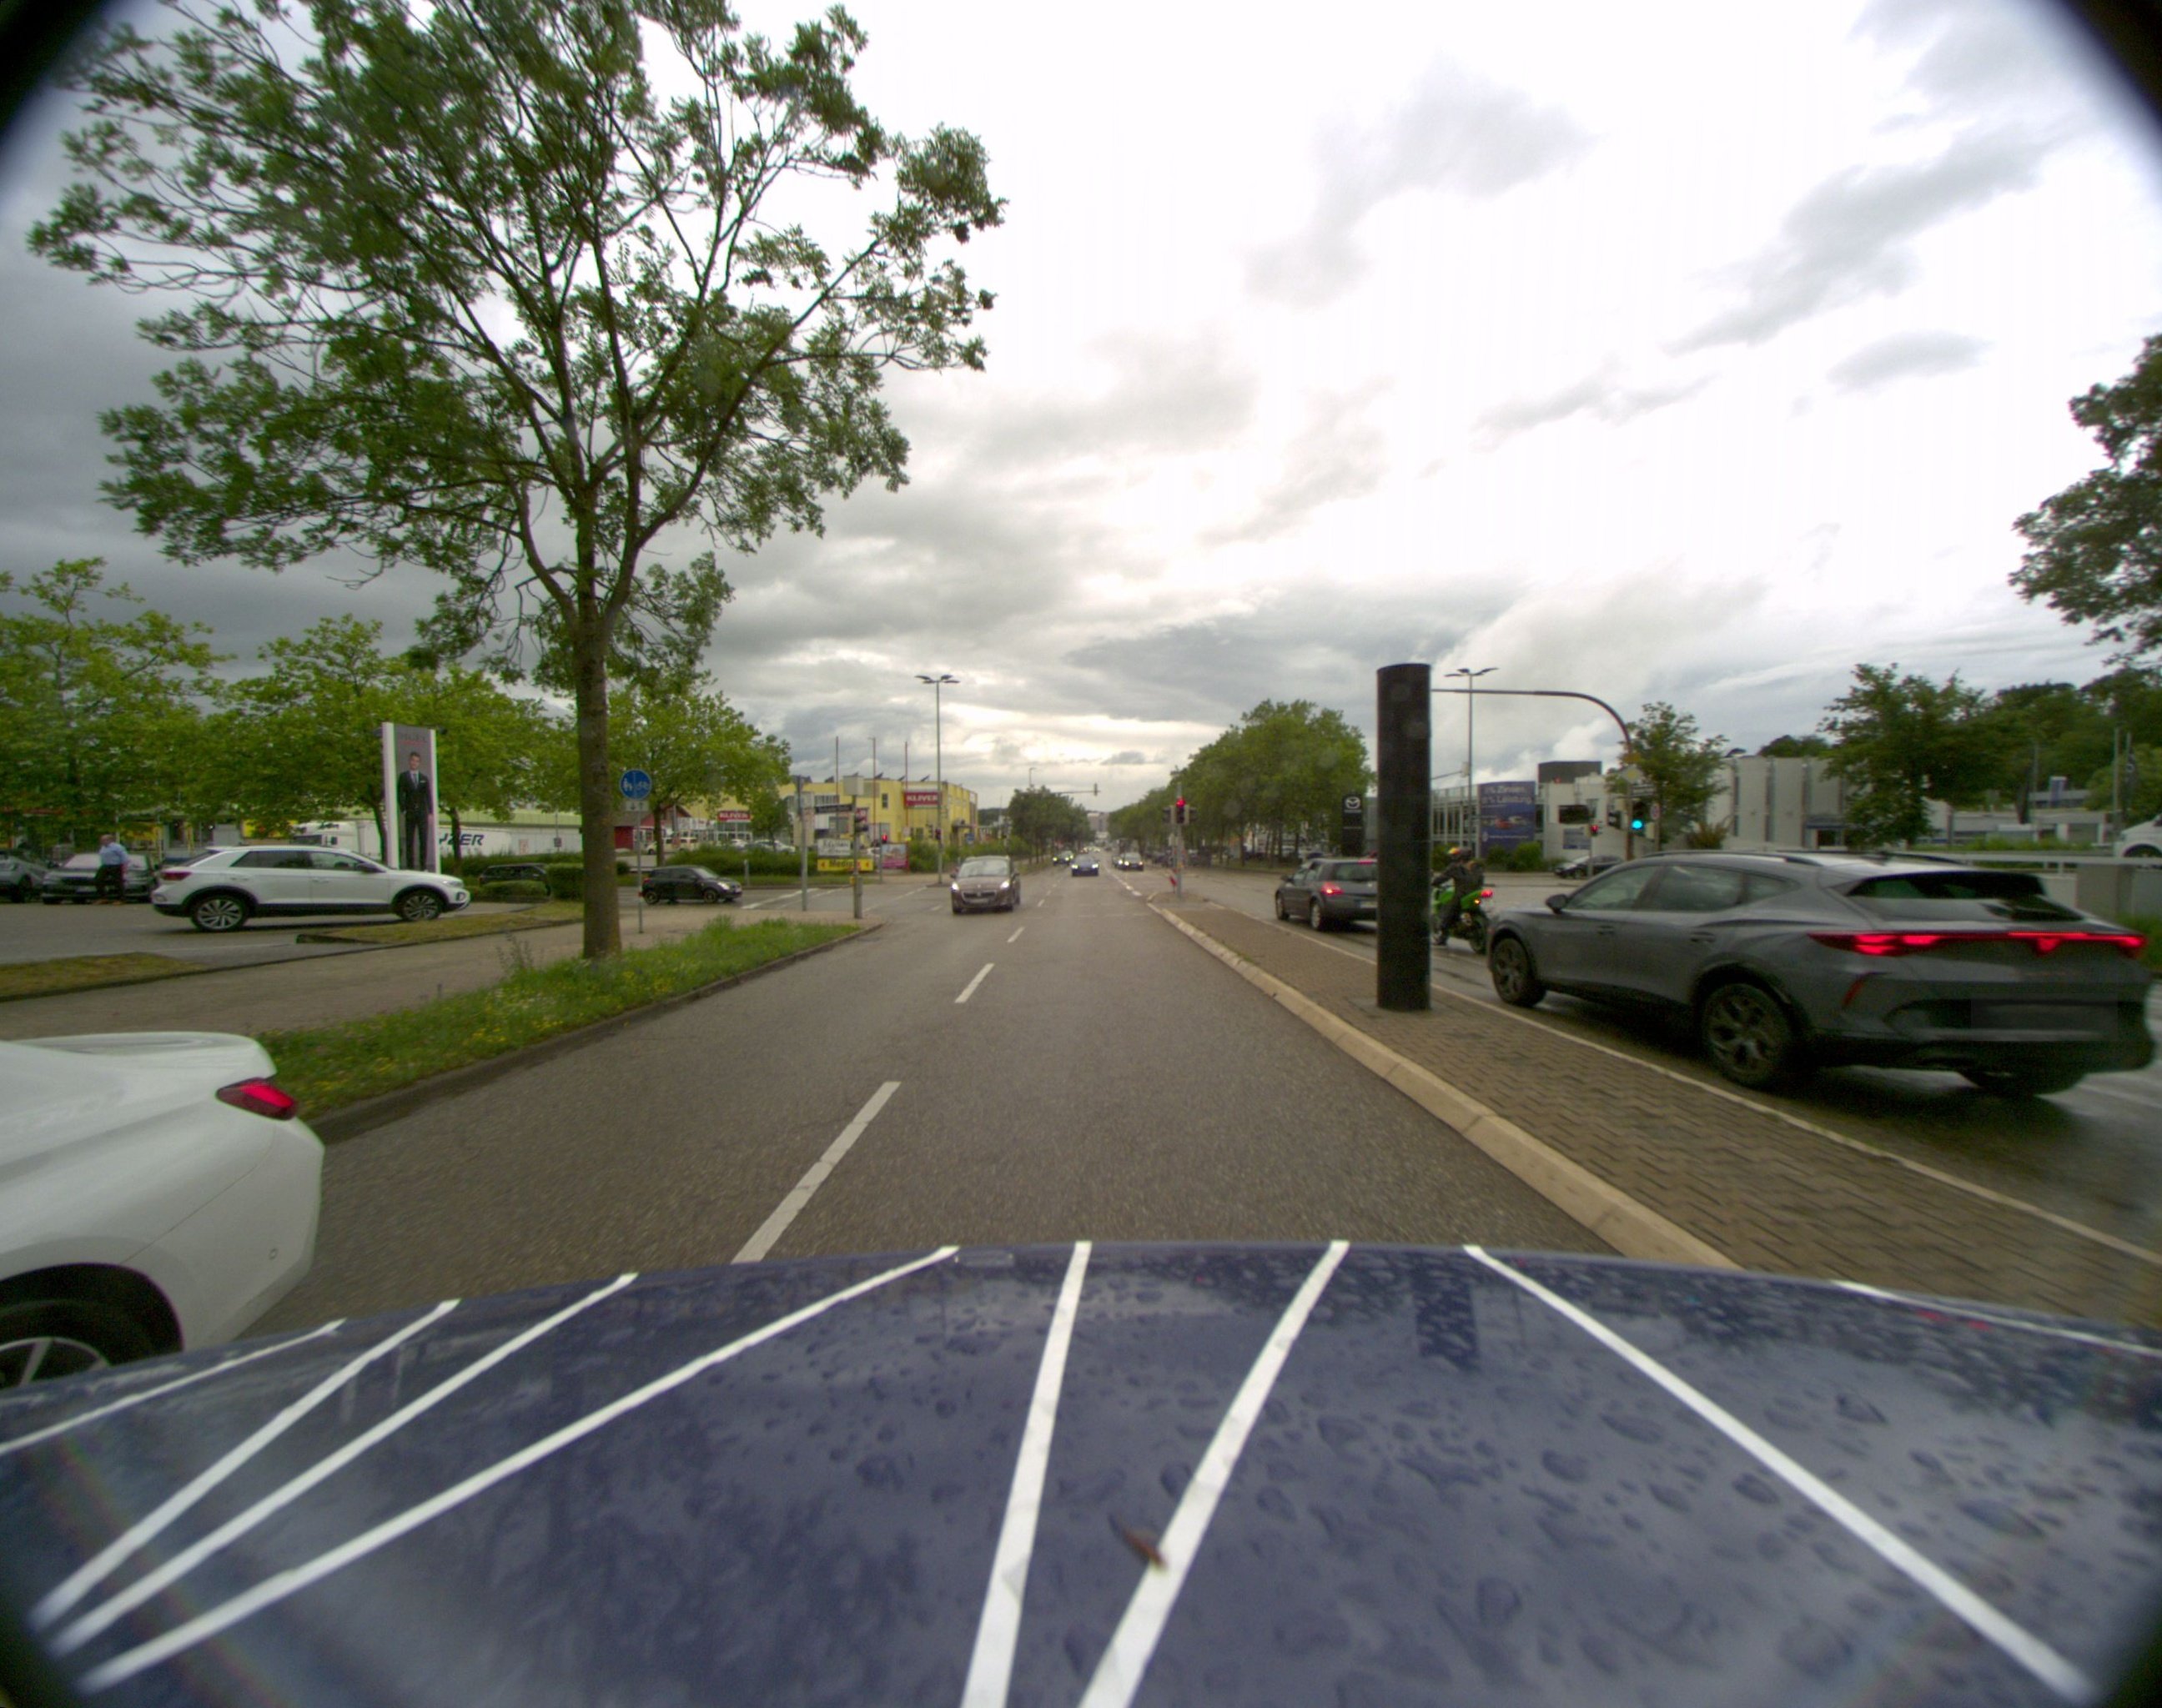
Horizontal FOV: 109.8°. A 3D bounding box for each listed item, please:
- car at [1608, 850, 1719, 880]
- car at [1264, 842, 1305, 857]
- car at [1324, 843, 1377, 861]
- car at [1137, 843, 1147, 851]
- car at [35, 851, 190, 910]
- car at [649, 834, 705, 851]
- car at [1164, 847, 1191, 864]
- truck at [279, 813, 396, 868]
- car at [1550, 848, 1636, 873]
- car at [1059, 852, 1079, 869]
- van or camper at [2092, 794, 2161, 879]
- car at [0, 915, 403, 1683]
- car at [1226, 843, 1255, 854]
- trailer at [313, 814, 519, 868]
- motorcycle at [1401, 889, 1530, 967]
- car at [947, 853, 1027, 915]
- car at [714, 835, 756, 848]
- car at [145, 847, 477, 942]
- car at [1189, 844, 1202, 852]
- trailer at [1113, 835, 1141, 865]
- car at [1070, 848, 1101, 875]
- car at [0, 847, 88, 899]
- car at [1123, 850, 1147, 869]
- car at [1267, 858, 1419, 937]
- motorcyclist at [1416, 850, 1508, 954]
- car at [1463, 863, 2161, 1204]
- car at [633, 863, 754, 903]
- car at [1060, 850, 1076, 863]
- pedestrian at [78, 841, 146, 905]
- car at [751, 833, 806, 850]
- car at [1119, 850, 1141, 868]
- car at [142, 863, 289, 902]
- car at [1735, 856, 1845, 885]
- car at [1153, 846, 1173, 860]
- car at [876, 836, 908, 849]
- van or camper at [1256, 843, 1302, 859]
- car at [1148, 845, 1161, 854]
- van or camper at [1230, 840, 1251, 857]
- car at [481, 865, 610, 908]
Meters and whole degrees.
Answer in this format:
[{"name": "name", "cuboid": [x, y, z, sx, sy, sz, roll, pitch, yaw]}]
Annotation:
[{"name": "car", "cuboid": [29.571, 0.530, 38.668, 4.158, 1.480, 1.879, 0, 1, 2]}, {"name": "car", "cuboid": [24.320, -0.530, 90.711, 4.473, 1.805, 1.996, -1, 1, -21]}, {"name": "car", "cuboid": [25.858, -0.170, 72.797, 4.573, 1.587, 1.996, -2, 2, -21]}, {"name": "car", "cuboid": [12.075, -1.408, 150.149, 1.714, 1.456, 4.084, 1, 1, 0]}, {"name": "car", "cuboid": [-27.343, 0.651, 21.662, 2.004, 1.477, 4.995, -1, 1, -44]}, {"name": "car", "cuboid": [-44.887, -1.279, 84.482, 4.981, 1.769, 2.380, 0, 1, 0]}, {"name": "car", "cuboid": [9.289, 0.106, 73.691, 1.916, 1.599, 4.361, 0, 1, -2]}, {"name": "truck", "cuboid": [-52.996, -0.902, 54.365, 3.159, 3.694, 5.137, -2, 0, 2]}, {"name": "car", "cuboid": [31.084, 0.371, 46.243, 3.989, 1.480, 1.817, 0, 1, 1]}, {"name": "car", "cuboid": [-1.356, 0.724, 87.717, 1.998, 1.633, 4.359, -2, 2, 2]}, {"name": "van or camper", "cuboid": [25.971, -0.402, 16.390, 1.998, 1.956, 4.787, -2, 2, 1]}, {"name": "car", "cuboid": [-3.212, 1.040, 0.221, 1.806, 1.535, 4.619, -2, 1, 0]}, {"name": "car", "cuboid": [30.536, -1.114, 145.861, 5.058, 2.002, 2.129, 0, 1, 0]}, {"name": "trailer", "cuboid": [-52.762, -0.876, 61.414, 3.159, 3.694, 14.814, -2, 0, 2]}, {"name": "motorcycle", "cuboid": [5.967, 1.110, 11.981, 0.809, 0.970, 2.322, 2, 0, -1]}, {"name": "car", "cuboid": [-2.787, 0.837, 23.449, 1.730, 1.615, 4.470, -2, 1, 2]}, {"name": "car", "cuboid": [-43.712, -1.576, 96.061, 4.381, 1.729, 2.000, 0, 1, 0]}, {"name": "car", "cuboid": [-14.611, 0.649, 14.722, 1.926, 1.567, 4.297, 1, 1, 43]}, {"name": "car", "cuboid": [24.375, -1.305, 162.074, 2.123, 1.487, 5.246, 0, 1, 1]}, {"name": "trailer", "cuboid": [4.492, -0.405, 74.607, 2.378, 2.880, 5.544, 0, 1, 0]}, {"name": "car", "cuboid": [0.390, 0.488, 53.326, 1.998, 1.633, 4.359, -2, 2, 2]}, {"name": "car", "cuboid": [-30.768, 0.547, 21.621, 1.986, 1.372, 4.142, -4, 3, -38]}, {"name": "car", "cuboid": [4.383, 0.456, 62.344, 1.717, 1.481, 4.077, 0, 1, 1]}, {"name": "car", "cuboid": [5.296, 0.801, 15.924, 1.687, 1.369, 3.998, 0, 1, -2]}, {"name": "motorcyclist", "cuboid": [5.961, 0.712, 11.965, 0.809, 1.550, 1.267, -1, 1, -1]}, {"name": "car", "cuboid": [5.022, 0.866, 5.933, 1.749, 1.481, 4.829, 0, 1, 1]}, {"name": "car", "cuboid": [-15.738, 1.156, 31.004, 3.989, 1.481, 1.817, 1, 2, 1]}, {"name": "car", "cuboid": [-1.827, 0.303, 105.960, 1.998, 1.632, 4.360, -1, 1, 1]}, {"name": "pedestrian", "cuboid": [-24.835, 0.463, 19.495, 0.801, 1.605, 0.722, 0, 1, -24]}, {"name": "car", "cuboid": [-32.646, -1.369, 82.106, 4.981, 1.769, 2.380, 0, 1, 0]}, {"name": "car", "cuboid": [4.384, 0.419, 68.072, 1.770, 1.450, 4.780, 0, 1, 1]}, {"name": "car", "cuboid": [-35.511, 1.153, 31.239, 3.989, 1.439, 1.817, 1, 2, 1]}, {"name": "car", "cuboid": [35.523, 0.803, 38.136, 3.696, 1.391, 1.879, 0, 1, 1]}, {"name": "car", "cuboid": [9.537, -0.127, 88.896, 1.715, 1.571, 3.998, 1, 1, -2]}, {"name": "car", "cuboid": [-26.118, -1.579, 105.041, 3.997, 1.769, 2.000, 0, 1, 0]}, {"name": "van or camper", "cuboid": [24.591, -0.395, 94.363, 5.381, 1.760, 2.100, -1, 4, -21]}, {"name": "car", "cuboid": [12.344, -0.743, 127.368, 1.715, 1.375, 4.173, 2, 1, -1]}, {"name": "van or camper", "cuboid": [24.466, -0.846, 116.983, 1.998, 2.456, 6.400, -2, 1, 2]}, {"name": "car", "cuboid": [-22.005, 1.331, 31.295, 4.149, 1.539, 1.738, -2, 2, 6]}]
